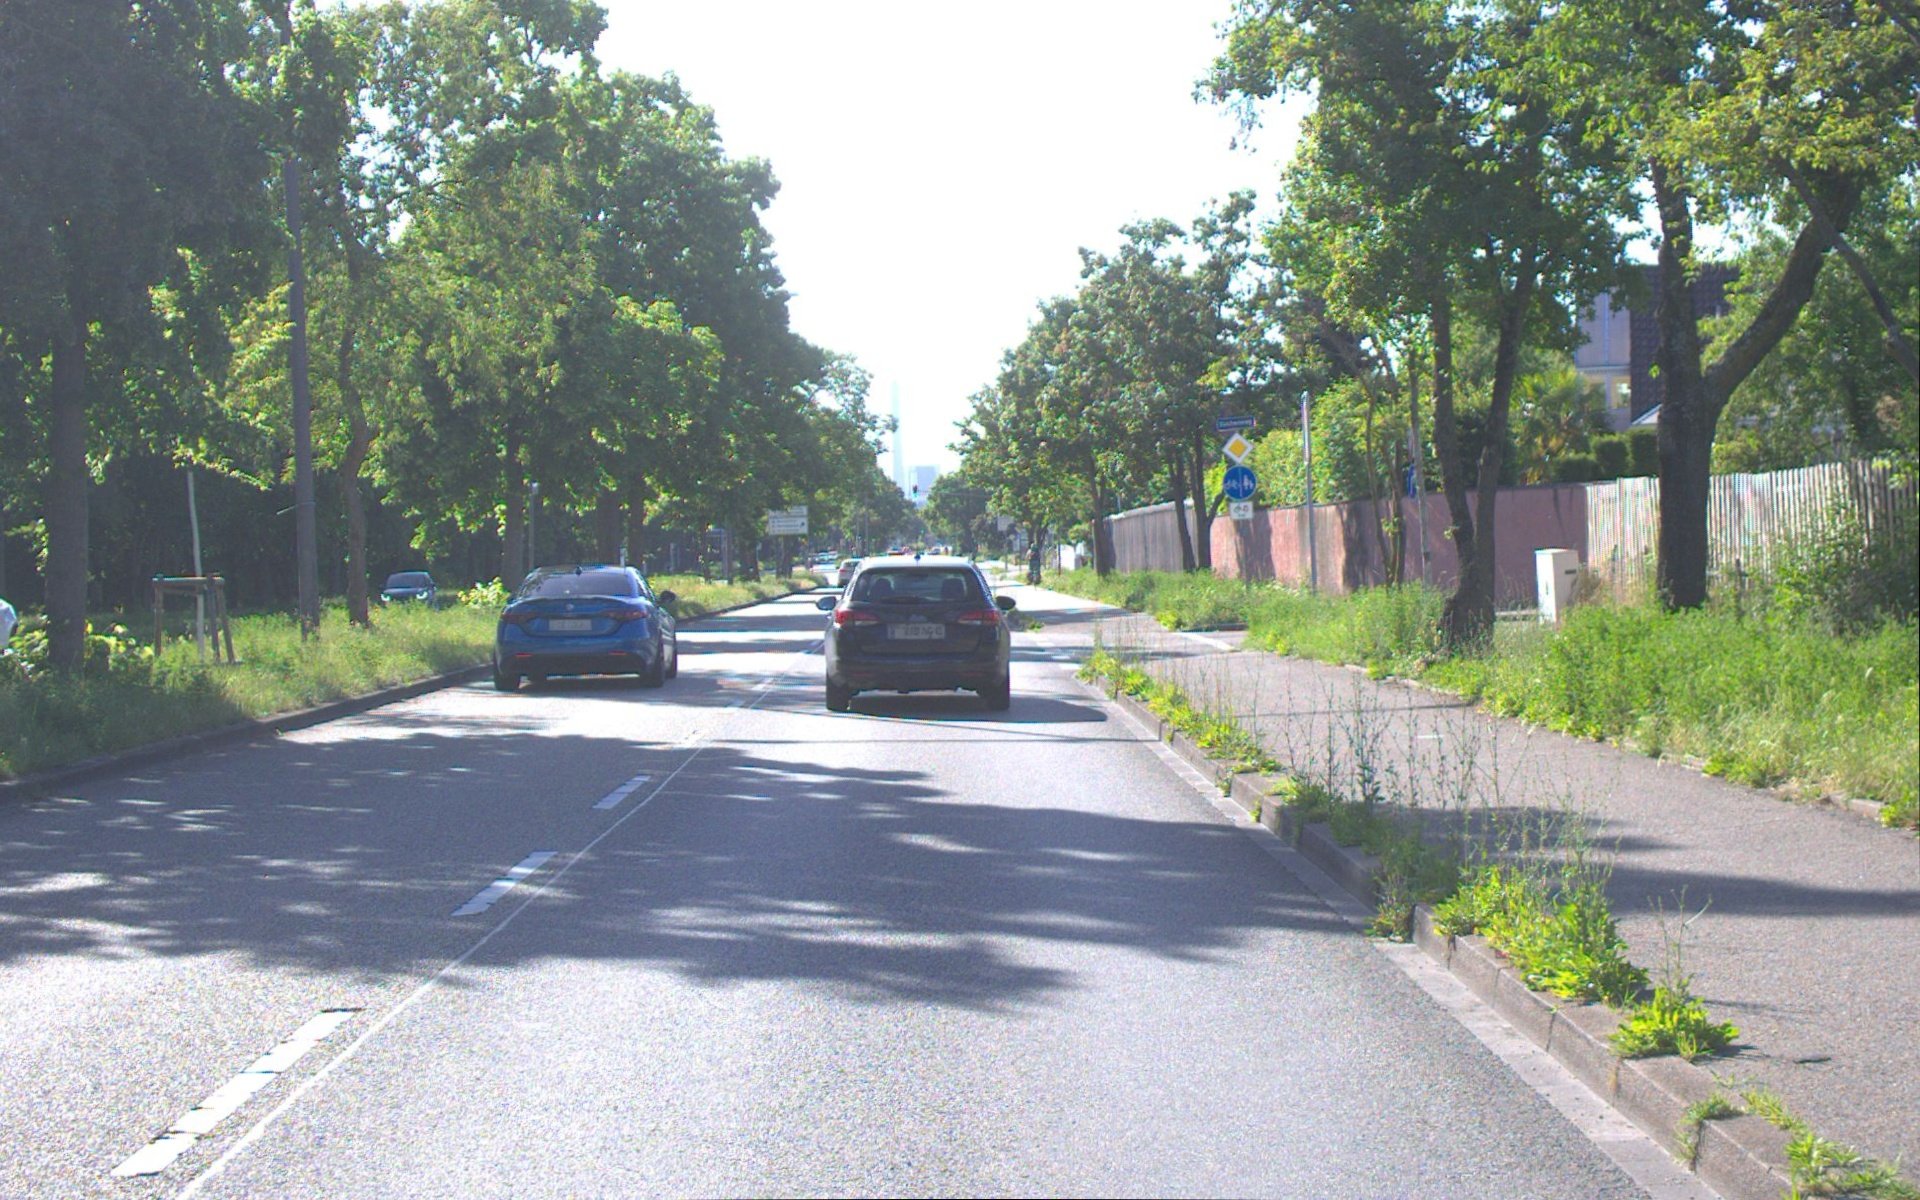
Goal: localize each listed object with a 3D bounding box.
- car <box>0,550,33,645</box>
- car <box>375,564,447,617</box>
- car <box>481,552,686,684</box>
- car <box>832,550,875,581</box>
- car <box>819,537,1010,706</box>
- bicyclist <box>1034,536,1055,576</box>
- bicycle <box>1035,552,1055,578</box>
[{"bbox_3d":[-16.904,0.073,56.965,1.839,1.584,4.586,-7,1,-2],"label":"car"},{"bbox_3d":[-17.600,-0.305,110.290,1.715,1.500,3.016,-3,2,1],"label":"car"},{"bbox_3d":[-4.327,0.168,40.033,1.994,1.400,4.000,-1,1,-1],"label":"car"},{"bbox_3d":[-5.462,-1.777,176.236,1.978,1.435,4.001,-2,2,-4],"label":"car"},{"bbox_3d":[-0.401,0.179,33.757,1.760,1.554,4.000,0,1,1],"label":"car"},{"bbox_3d":[3.026,-1.588,123.164,0.680,1.414,0.812,-1,1,0],"label":"bicyclist"},{"bbox_3d":[3.034,-1.256,122.843,0.655,0.889,1.875,-1,1,-1],"label":"bicycle"}]
